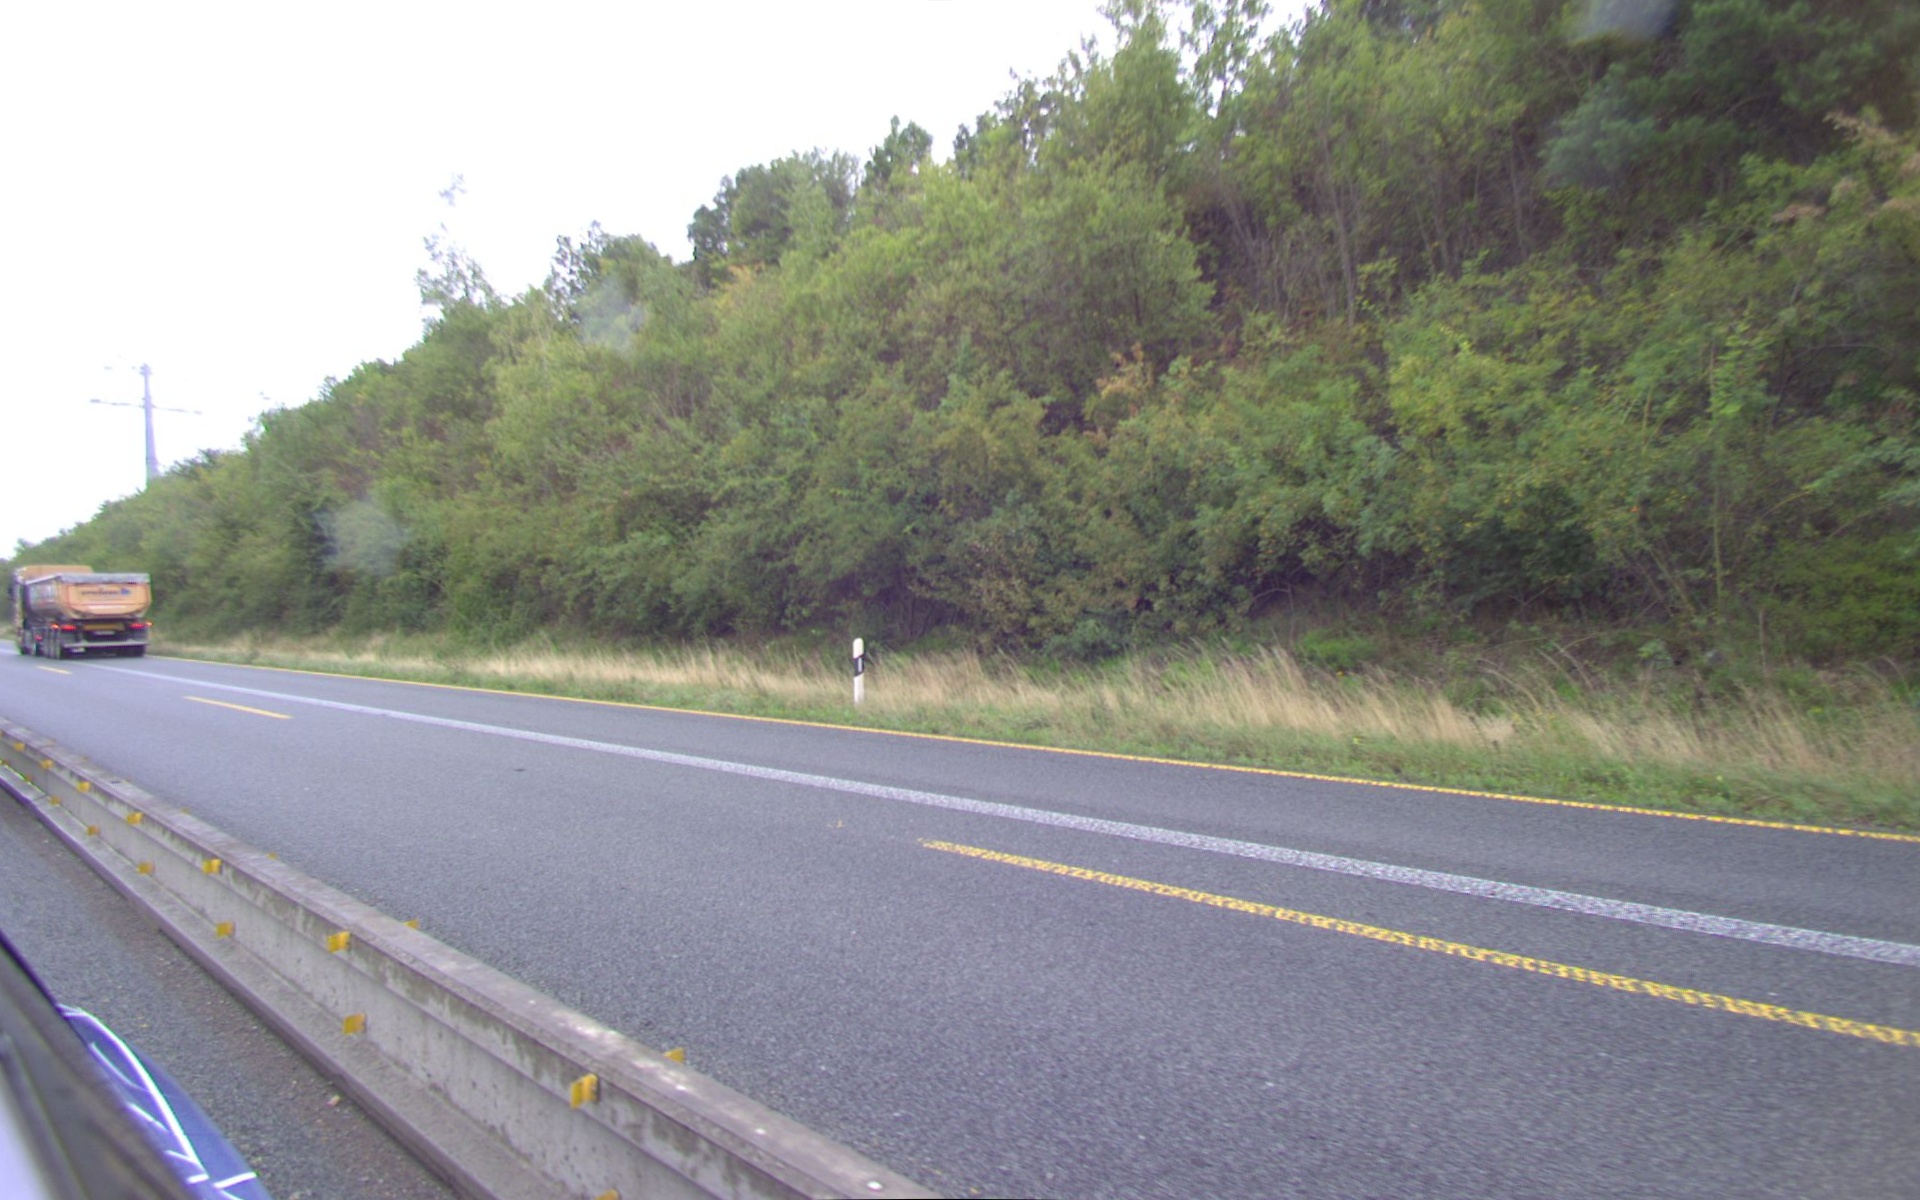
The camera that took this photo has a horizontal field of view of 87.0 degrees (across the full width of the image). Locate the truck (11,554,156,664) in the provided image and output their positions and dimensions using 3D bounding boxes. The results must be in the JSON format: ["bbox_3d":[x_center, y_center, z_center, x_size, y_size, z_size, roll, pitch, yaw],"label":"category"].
[{"bbox_3d":[-33.886,0.350,38.849,12.307,3.684,2.653,-1,0,42],"label":"truck"}]
